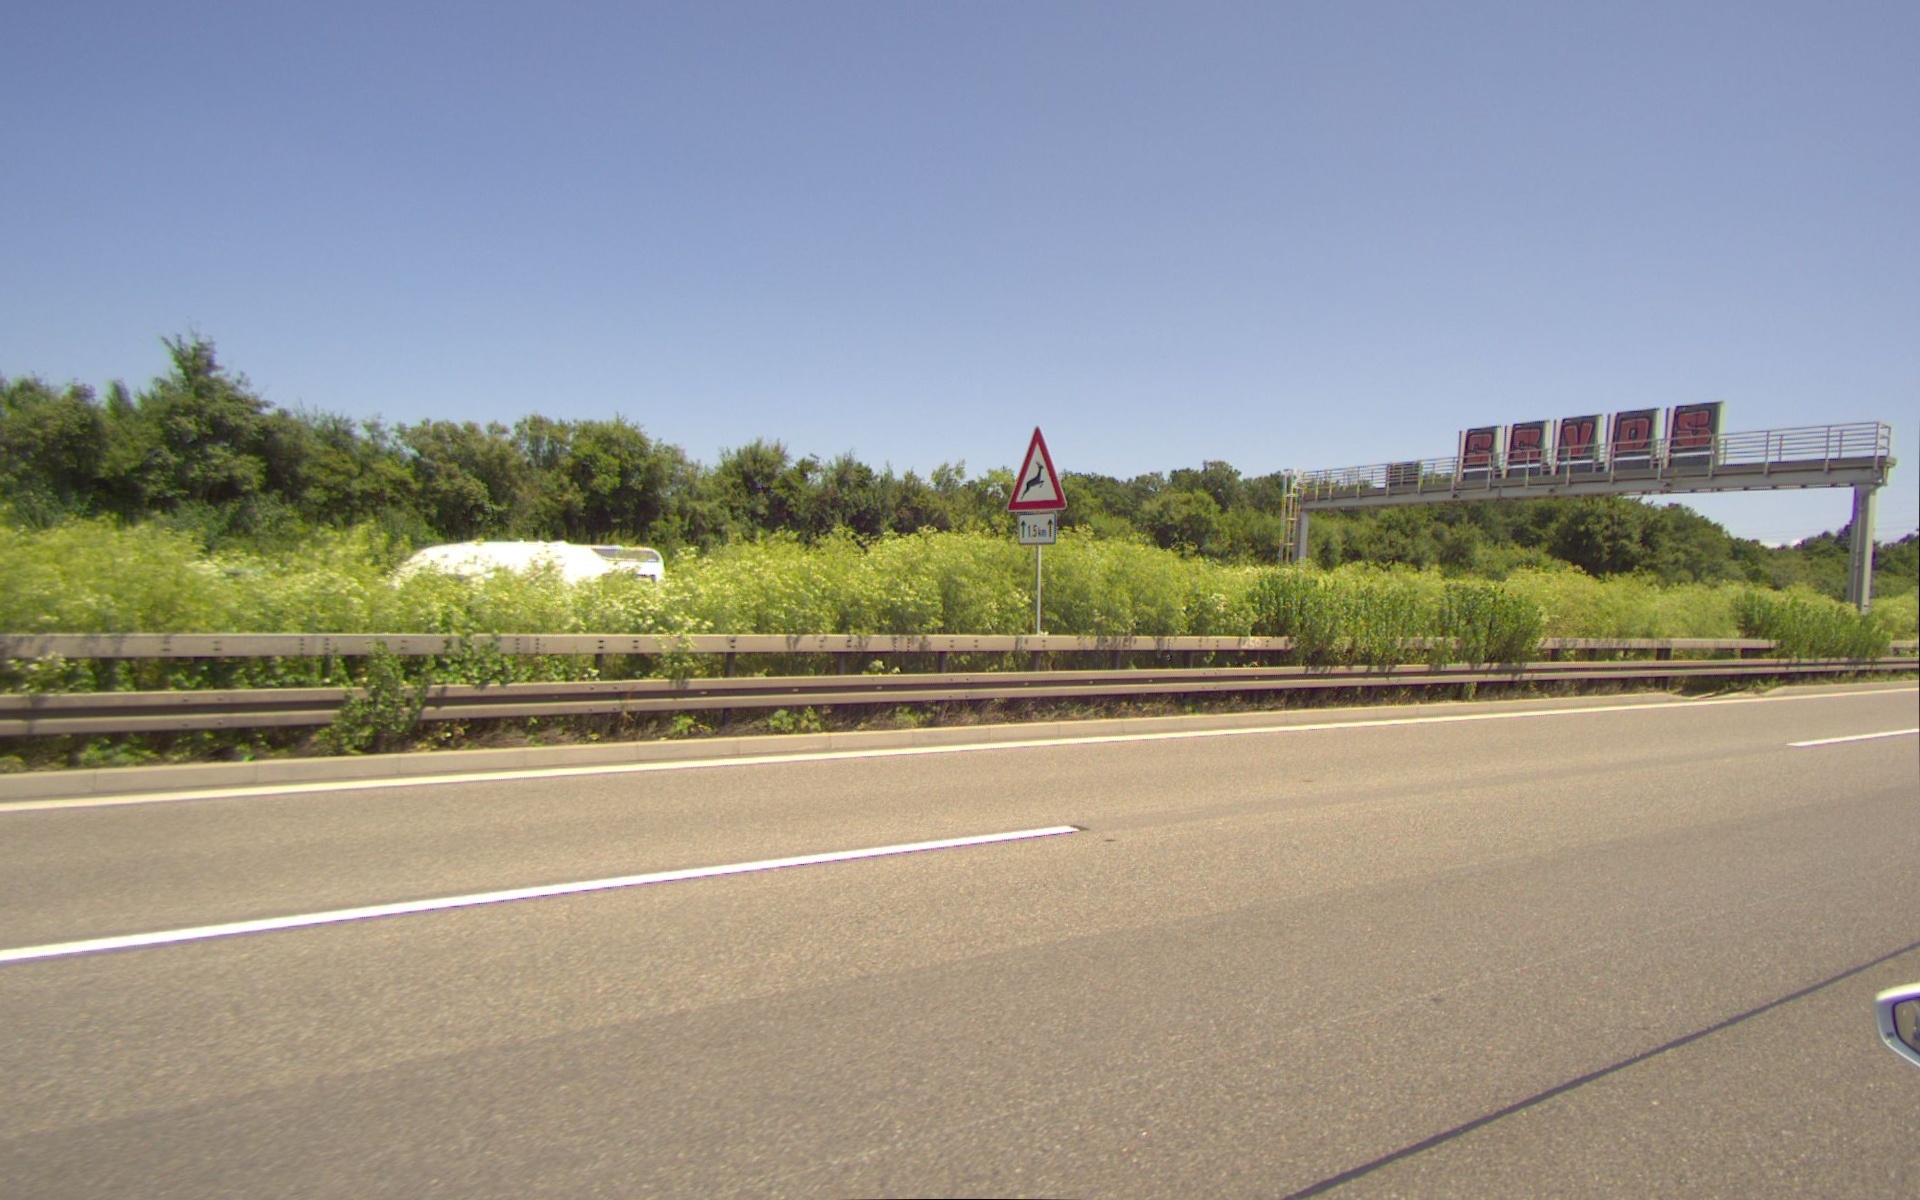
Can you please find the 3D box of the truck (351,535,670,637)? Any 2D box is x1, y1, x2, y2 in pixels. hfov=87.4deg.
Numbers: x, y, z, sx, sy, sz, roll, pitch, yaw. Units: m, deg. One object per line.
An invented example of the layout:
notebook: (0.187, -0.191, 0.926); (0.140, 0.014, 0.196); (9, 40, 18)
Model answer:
truck: (-9.956, -0.248, 22.586); (6.323, 2.040, 1.984); (1, -1, -31)
